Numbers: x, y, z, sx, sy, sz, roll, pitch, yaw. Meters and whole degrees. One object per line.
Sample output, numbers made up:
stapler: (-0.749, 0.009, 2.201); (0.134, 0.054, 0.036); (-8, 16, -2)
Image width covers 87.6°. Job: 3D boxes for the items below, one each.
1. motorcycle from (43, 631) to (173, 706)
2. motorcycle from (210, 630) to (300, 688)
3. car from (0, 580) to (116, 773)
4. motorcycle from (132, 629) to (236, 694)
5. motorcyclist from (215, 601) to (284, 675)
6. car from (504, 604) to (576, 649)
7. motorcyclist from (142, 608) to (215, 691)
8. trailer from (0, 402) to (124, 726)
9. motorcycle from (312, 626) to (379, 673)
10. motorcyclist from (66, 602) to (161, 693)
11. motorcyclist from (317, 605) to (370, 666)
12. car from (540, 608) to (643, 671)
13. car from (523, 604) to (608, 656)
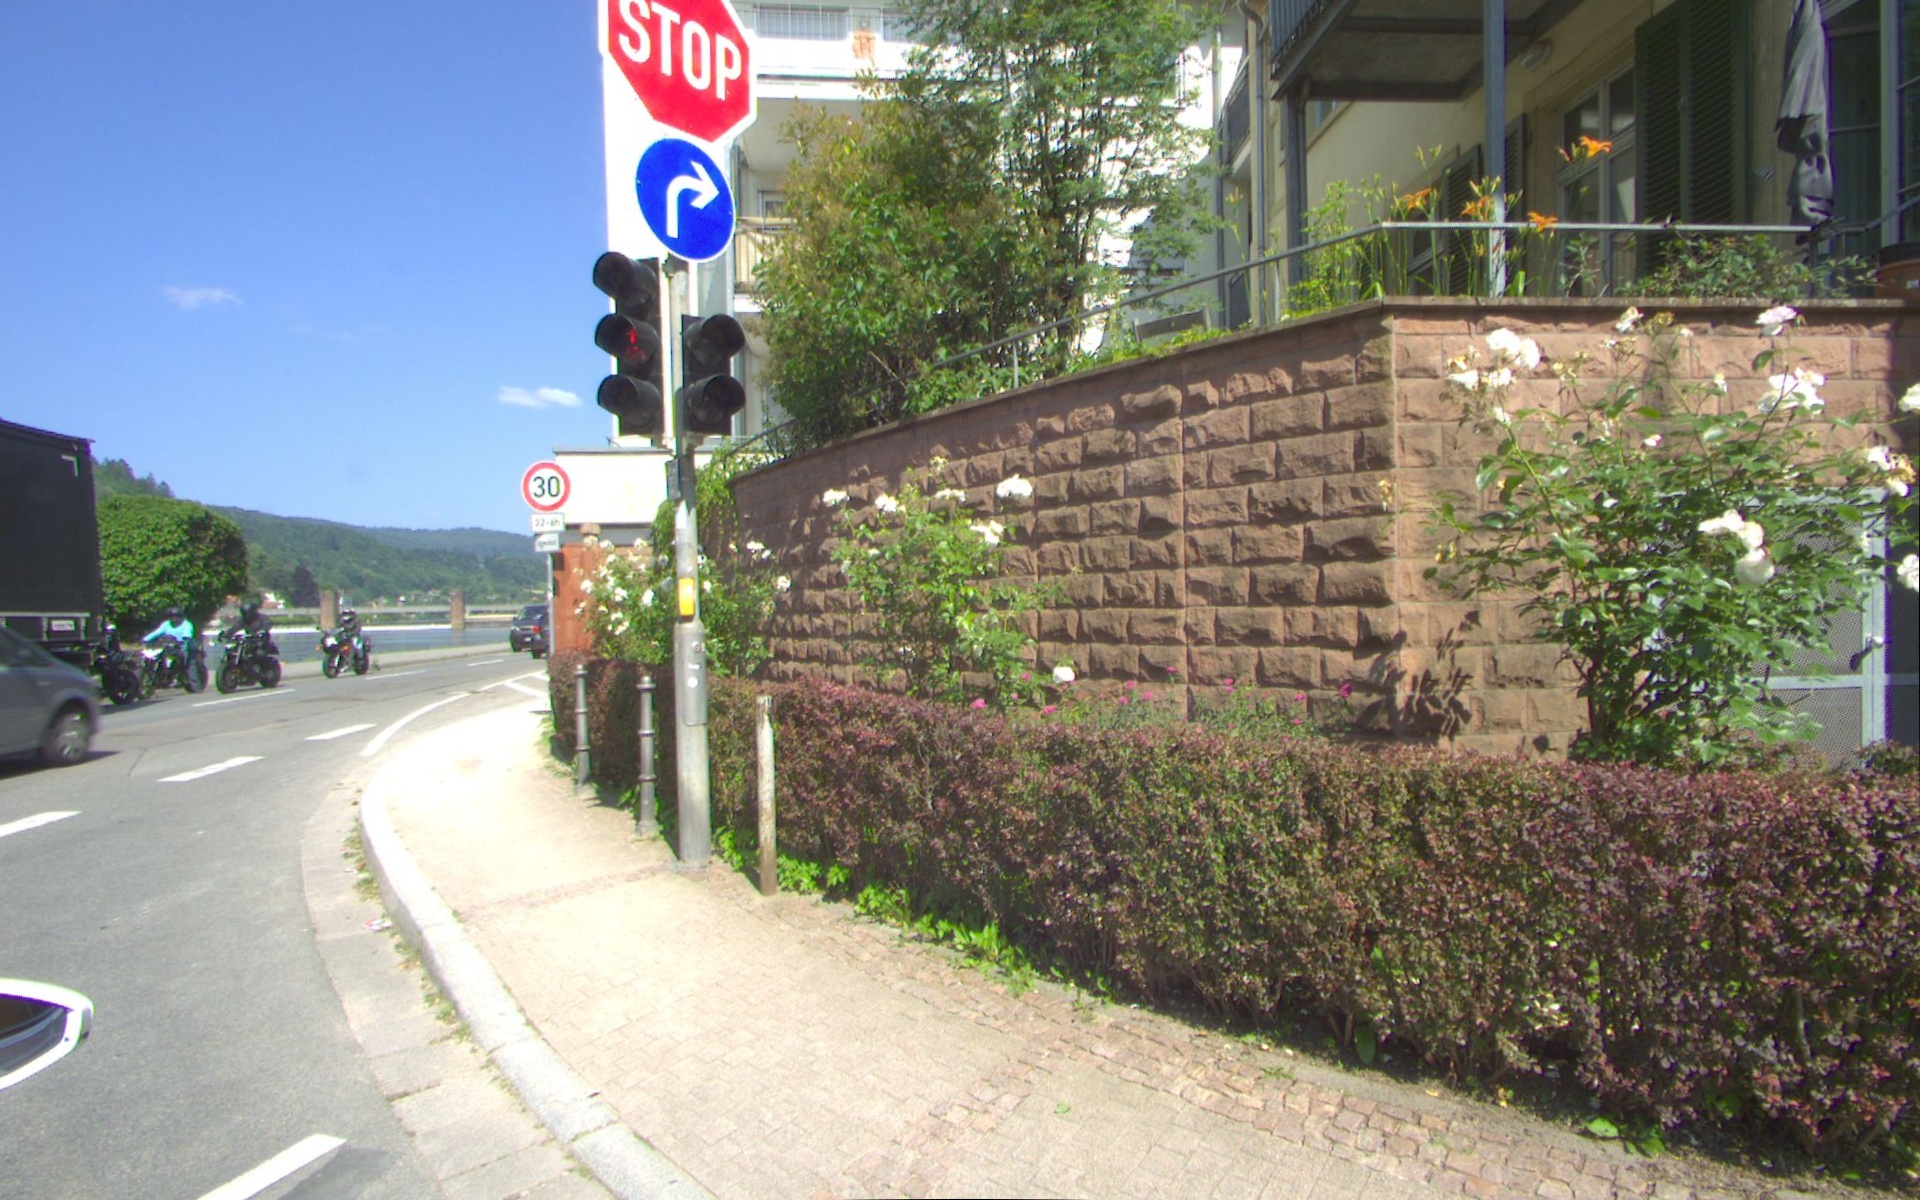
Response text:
motorcycle: (-14.487, 1.130, 17.108); (0.623, 1.138, 2.092); (-3, 0, -9)
motorcycle: (-13.662, 1.120, 19.475); (0.646, 1.038, 1.814); (-1, 0, -8)
car: (-8.877, 0.639, 7.930); (1.661, 1.632, 3.737); (0, -1, -9)
motorcycle: (-15.244, 1.174, 19.748); (0.623, 1.138, 2.092); (-3, 0, -9)
motorcyclist: (-13.710, 0.717, 19.355); (0.774, 1.384, 0.800); (-1, 0, -8)
car: (-16.791, 1.036, 40.221); (1.739, 1.691, 3.772); (0, 0, -8)
motorcyclist: (-15.259, 0.947, 19.577); (0.653, 1.545, 0.991); (-3, 1, -9)
trailer: (-13.031, -0.438, 7.875); (2.788, 4.158, 13.765); (-3, 0, -8)
motorcycle: (-14.558, 1.146, 23.770); (0.646, 1.038, 1.814); (-1, 0, -8)
motorcyclist: (-14.478, 0.794, 17.162); (0.766, 1.479, 0.991); (-3, 0, -8)
motorcyclist: (-14.551, 0.829, 23.648); (0.706, 1.384, 0.936); (-1, 0, -8)
car: (-8.908, 0.905, 24.482); (1.661, 1.417, 3.737); (0, -1, -9)
car: (-12.459, 0.916, 31.829); (1.695, 1.518, 3.878); (-1, 0, -9)
